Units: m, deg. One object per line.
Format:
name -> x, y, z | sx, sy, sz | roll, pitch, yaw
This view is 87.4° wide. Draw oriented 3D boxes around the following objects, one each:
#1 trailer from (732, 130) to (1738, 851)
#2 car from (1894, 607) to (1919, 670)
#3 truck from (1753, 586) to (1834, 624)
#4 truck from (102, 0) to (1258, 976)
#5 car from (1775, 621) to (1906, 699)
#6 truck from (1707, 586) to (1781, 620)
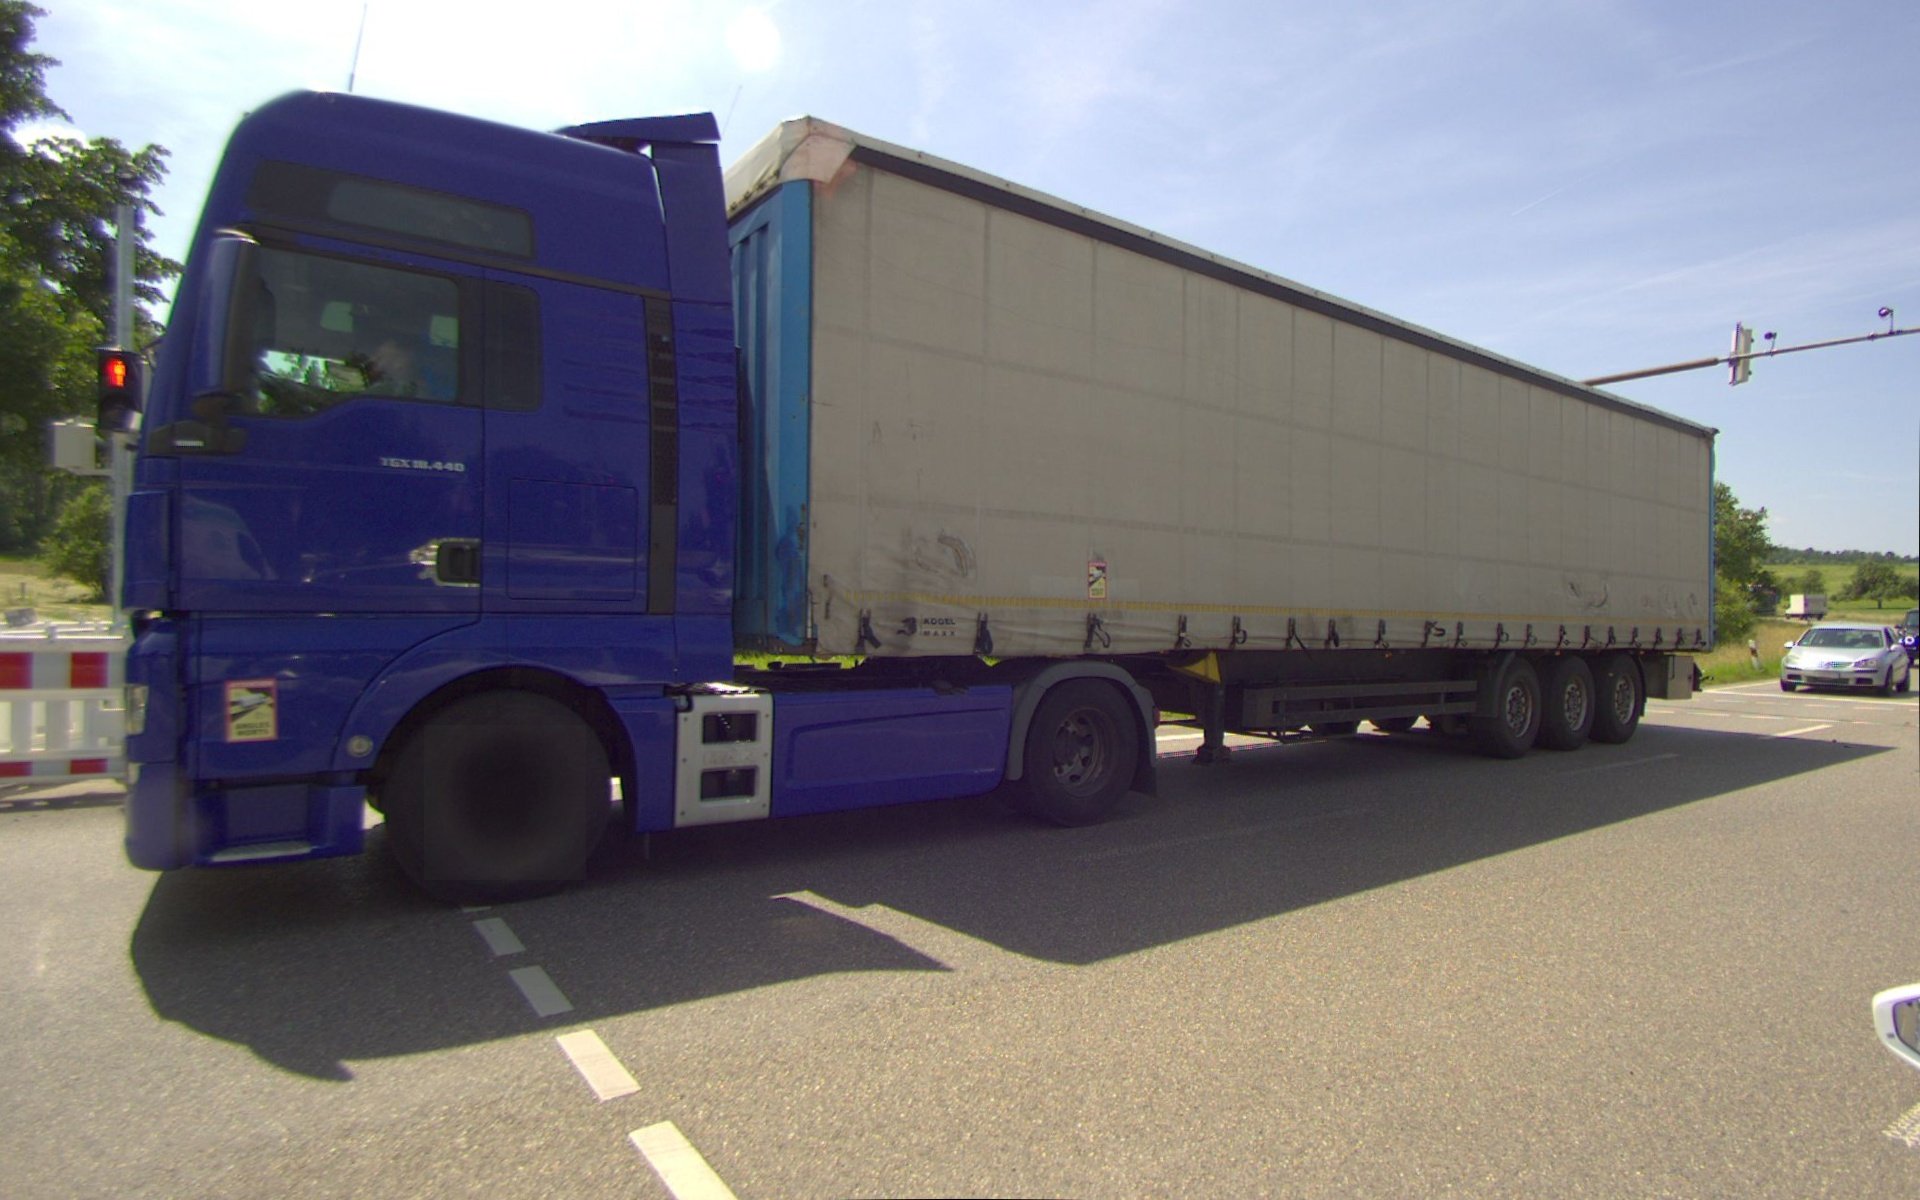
trailer -> 4.412, -0.539, 10.735 | 13.464, 4.084, 2.548 | 1, 0, -36
car -> 32.946, 1.304, 33.951 | 1.973, 2.033, 5.134 | 2, 0, 43
truck -> 100.541, 0.679, 121.463 | 3.578, 4.184, 13.094 | 3, 0, 22
truck -> -1.216, -0.588, 6.671 | 6.491, 4.084, 2.551 | 1, 0, -34
car -> 19.143, 1.244, 21.781 | 3.972, 1.515, 1.754 | 2, -1, -43
truck -> 106.612, 0.464, 136.905 | 3.471, 4.296, 13.407 | 3, 0, 19
